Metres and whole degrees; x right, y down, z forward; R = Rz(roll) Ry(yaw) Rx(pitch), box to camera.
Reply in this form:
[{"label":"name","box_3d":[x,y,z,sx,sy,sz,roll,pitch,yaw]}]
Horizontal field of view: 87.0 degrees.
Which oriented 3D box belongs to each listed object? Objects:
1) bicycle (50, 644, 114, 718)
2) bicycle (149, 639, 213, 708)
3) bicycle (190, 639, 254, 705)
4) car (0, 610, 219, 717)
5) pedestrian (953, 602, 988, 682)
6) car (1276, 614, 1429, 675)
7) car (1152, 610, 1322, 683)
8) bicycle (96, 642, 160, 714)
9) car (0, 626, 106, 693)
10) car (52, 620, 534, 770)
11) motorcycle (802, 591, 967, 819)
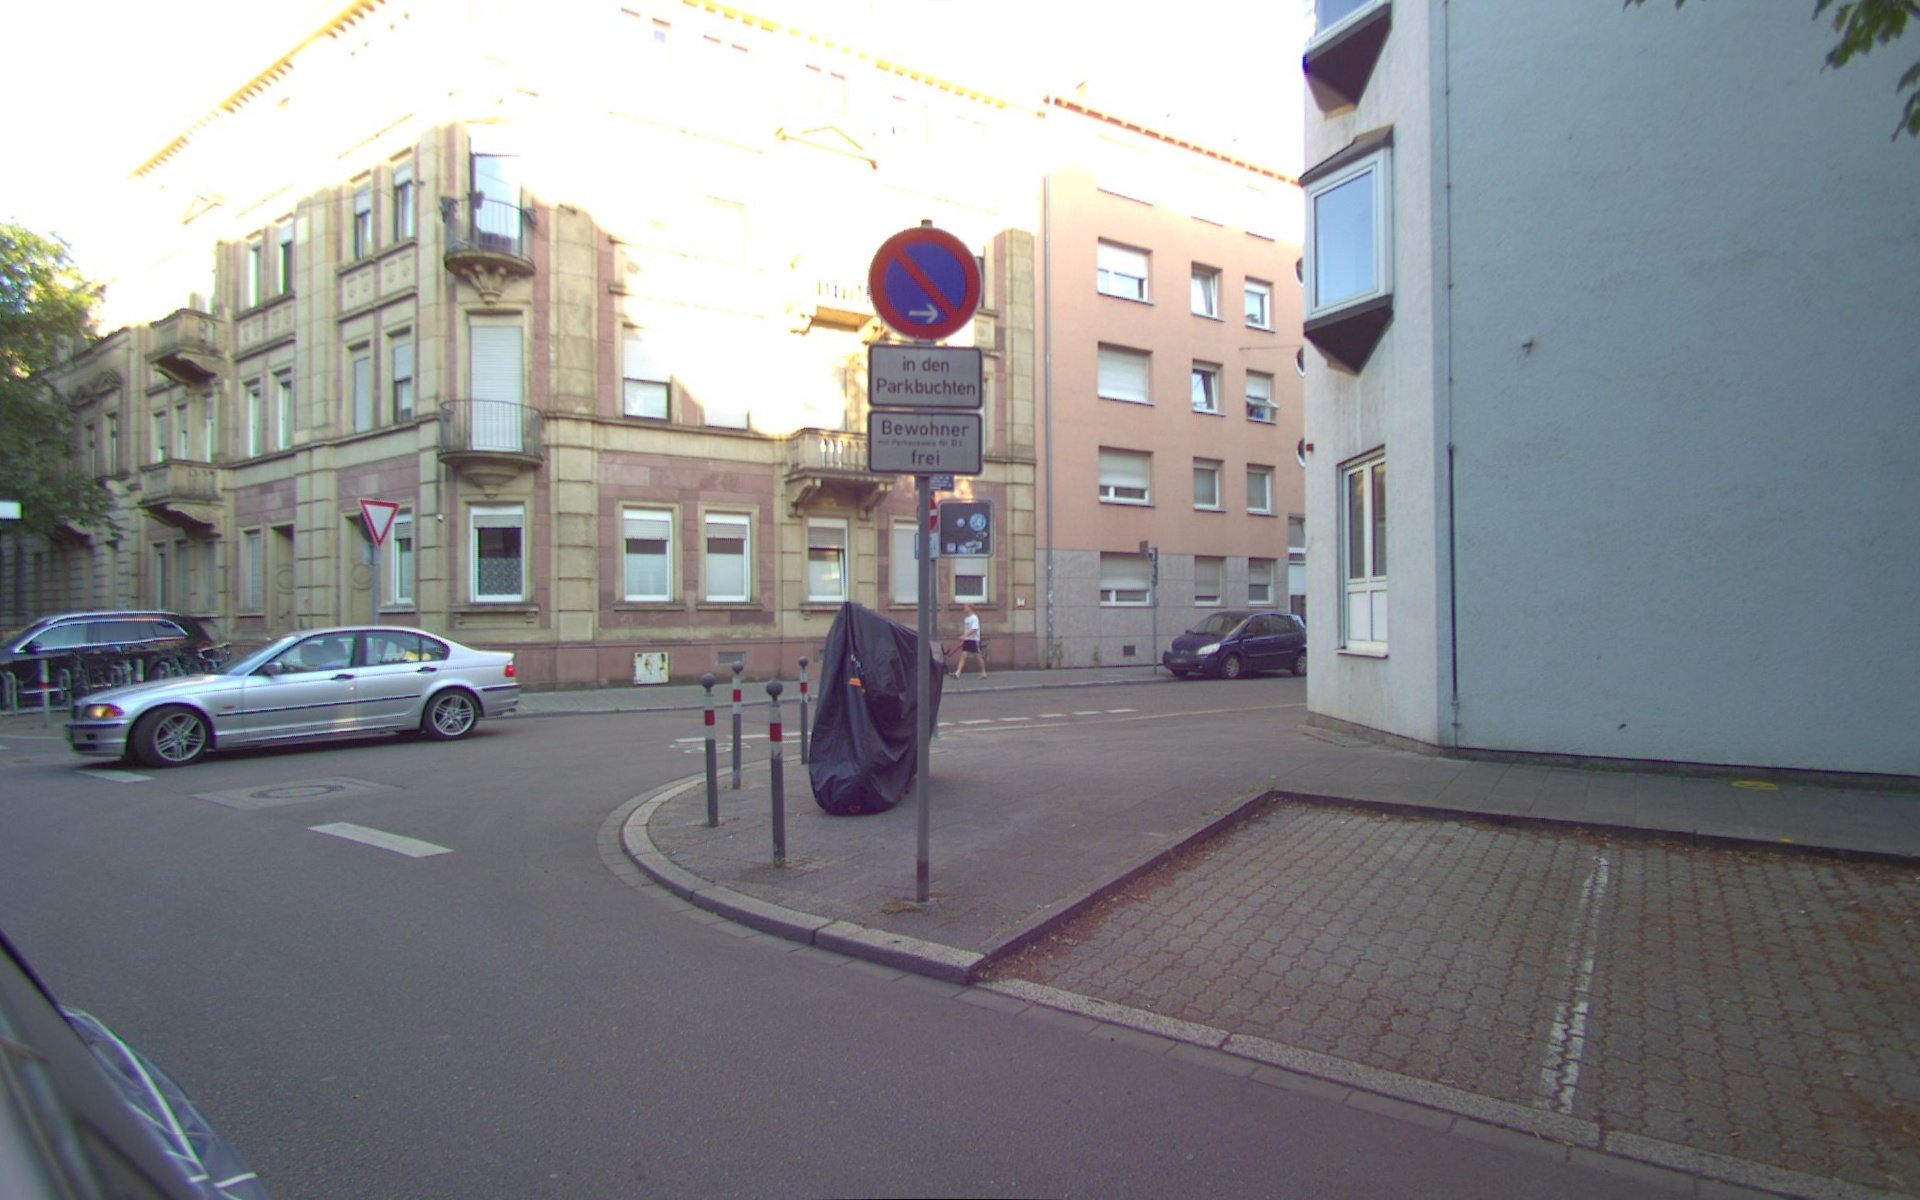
[{"label":"bicycle","box_3d":[-14.309,1.300,16.483,1.866,1.097,0.360,0,1,36]},{"label":"bicycle","box_3d":[-13.594,1.263,17.648,1.866,1.097,0.360,0,1,36]},{"label":"bicycle","box_3d":[-13.252,1.272,18.156,1.866,1.097,0.360,0,1,36]},{"label":"car","box_3d":[-16.556,1.106,18.504,1.773,1.751,4.536,0,1,36]},{"label":"pedestrian","box_3d":[0.231,0.937,22.582,0.559,1.757,0.552,1,-2,-34]},{"label":"car","box_3d":[10.631,1.165,27.340,4.211,1.525,1.699,1,-2,-33]},{"label":"car","box_3d":[6.742,1.090,24.567,3.985,1.637,1.700,0,-2,-32]},{"label":"bicycle","box_3d":[-14.042,1.292,17.058,1.866,1.097,0.360,0,1,36]},{"label":"car","box_3d":[-22.643,1.386,23.222,1.773,1.499,4.392,-2,-2,36]},{"label":"car","box_3d":[-7.468,0.979,11.712,1.683,1.414,4.407,-4,-4,43]},{"label":"motorcycle","box_3d":[-0.526,0.746,8.100,0.663,1.567,2.152,-1,-1,14]}]
